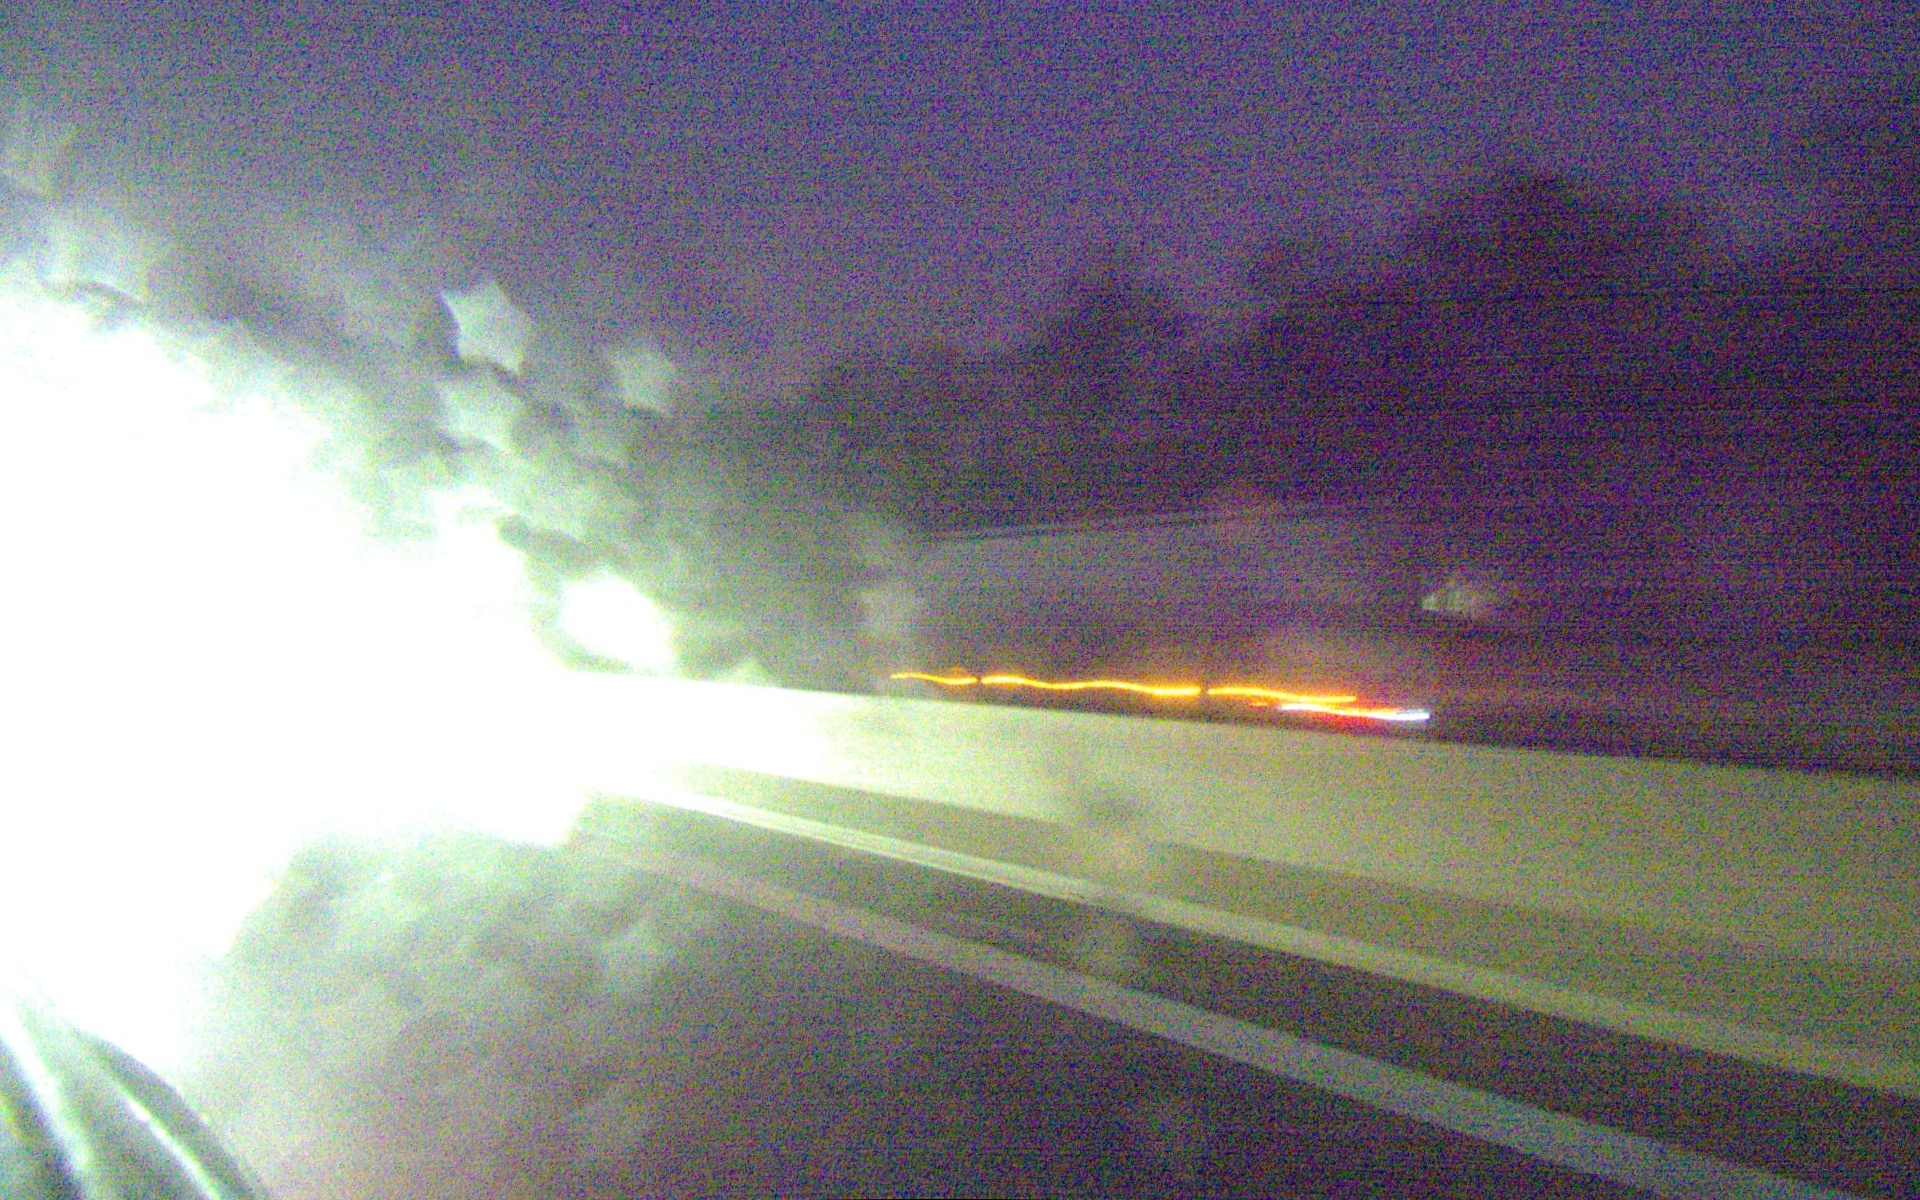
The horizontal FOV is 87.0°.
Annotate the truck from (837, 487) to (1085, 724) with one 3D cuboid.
[{"bbox_3d":[-0.090,0.157,23.361,5.384,4.848,2.401,-2,0,41],"label":"truck"}]

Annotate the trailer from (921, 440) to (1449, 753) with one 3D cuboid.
[{"bbox_3d":[3.787,0.051,19.946,10.165,4.860,2.380,-2,0,41],"label":"trailer"}]

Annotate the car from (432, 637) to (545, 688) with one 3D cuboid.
[{"bbox_3d":[-14.872,1.911,31.831,3.998,1.442,1.722,-2,0,41],"label":"car"}]
